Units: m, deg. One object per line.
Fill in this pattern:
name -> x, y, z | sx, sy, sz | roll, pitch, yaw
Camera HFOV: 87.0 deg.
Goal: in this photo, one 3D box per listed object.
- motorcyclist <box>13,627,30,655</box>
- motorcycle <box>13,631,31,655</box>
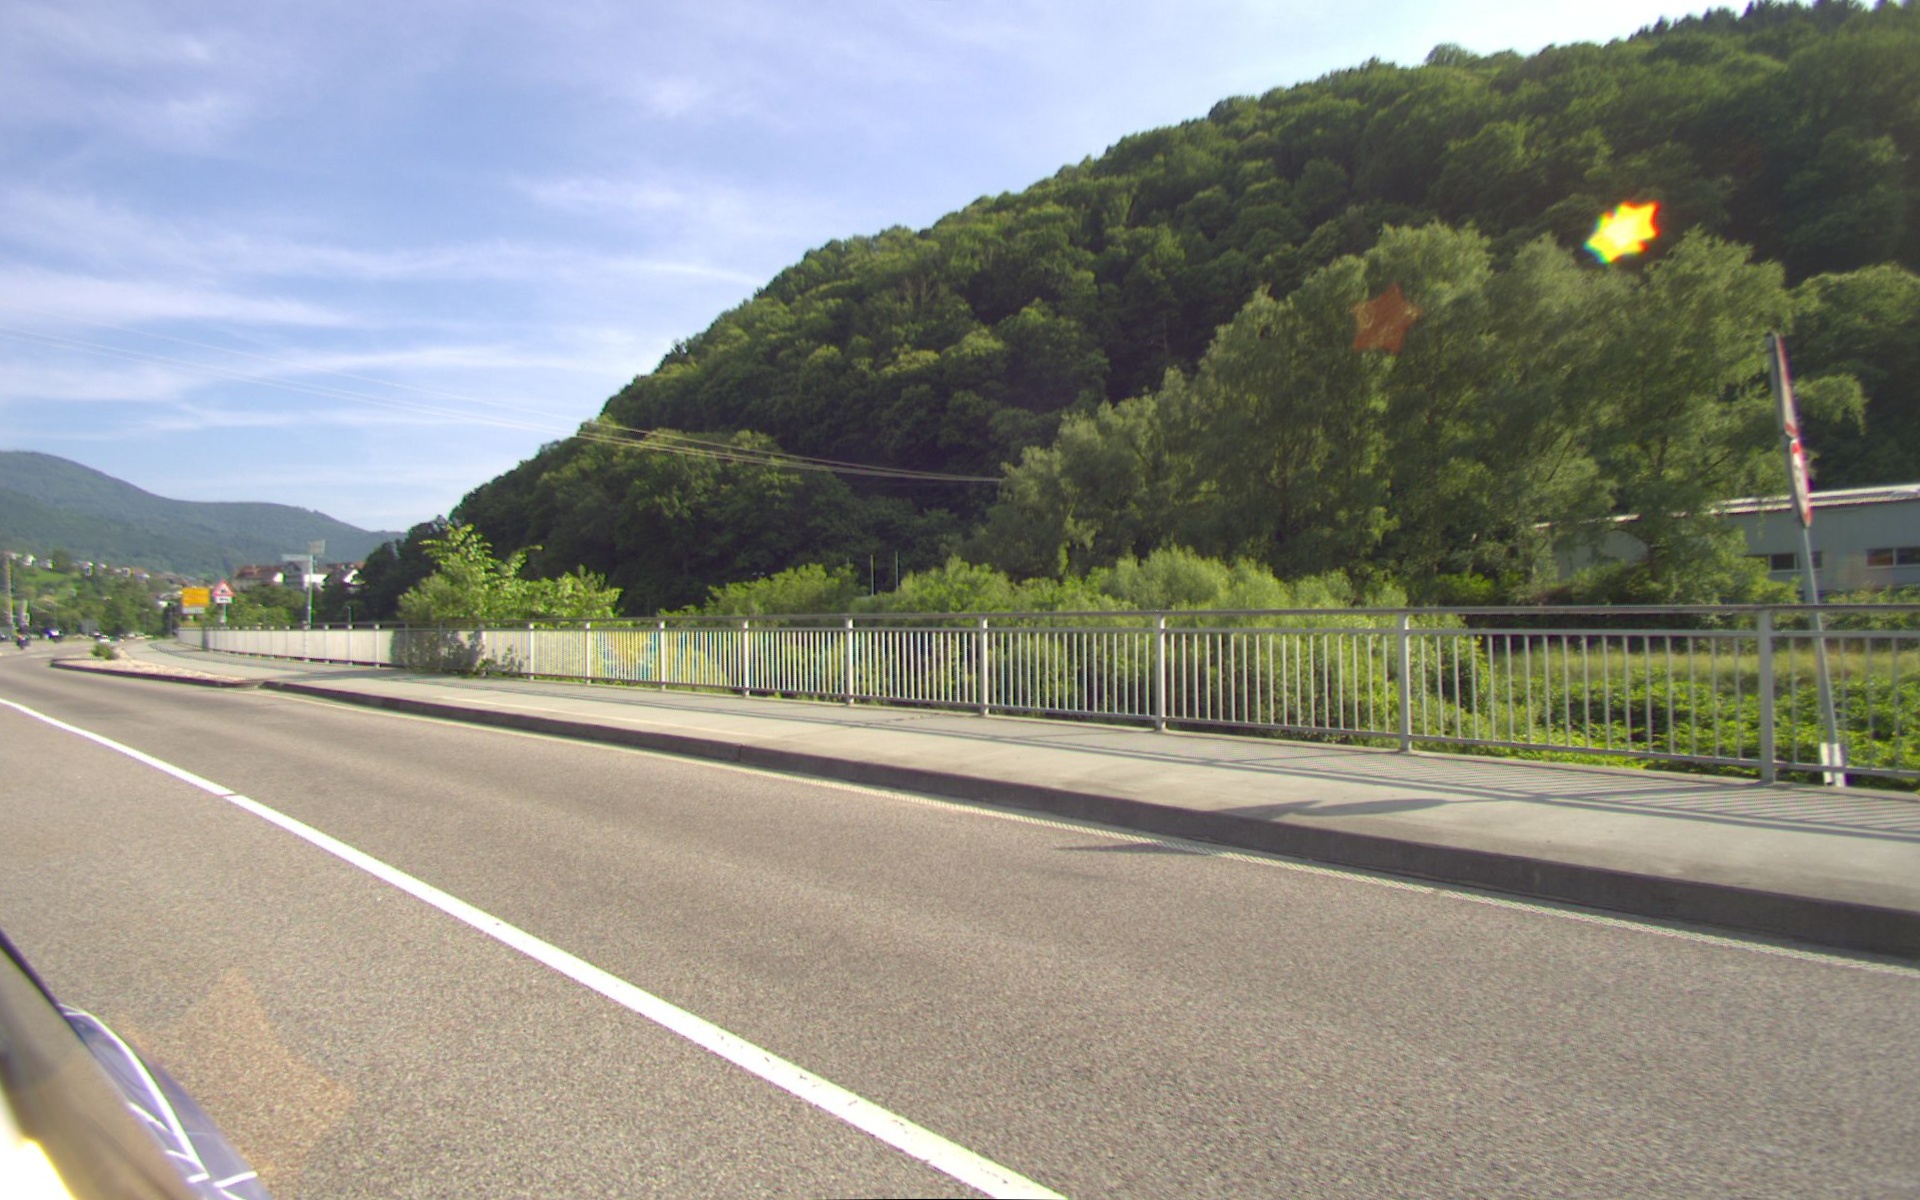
motorcyclist -> -58.282, 2.546, 62.845 | 0.753, 1.691, 0.728 | 2, -2, -42
motorcycle -> -58.240, 2.654, 62.820 | 0.763, 1.433, 2.321 | 2, -3, -43
